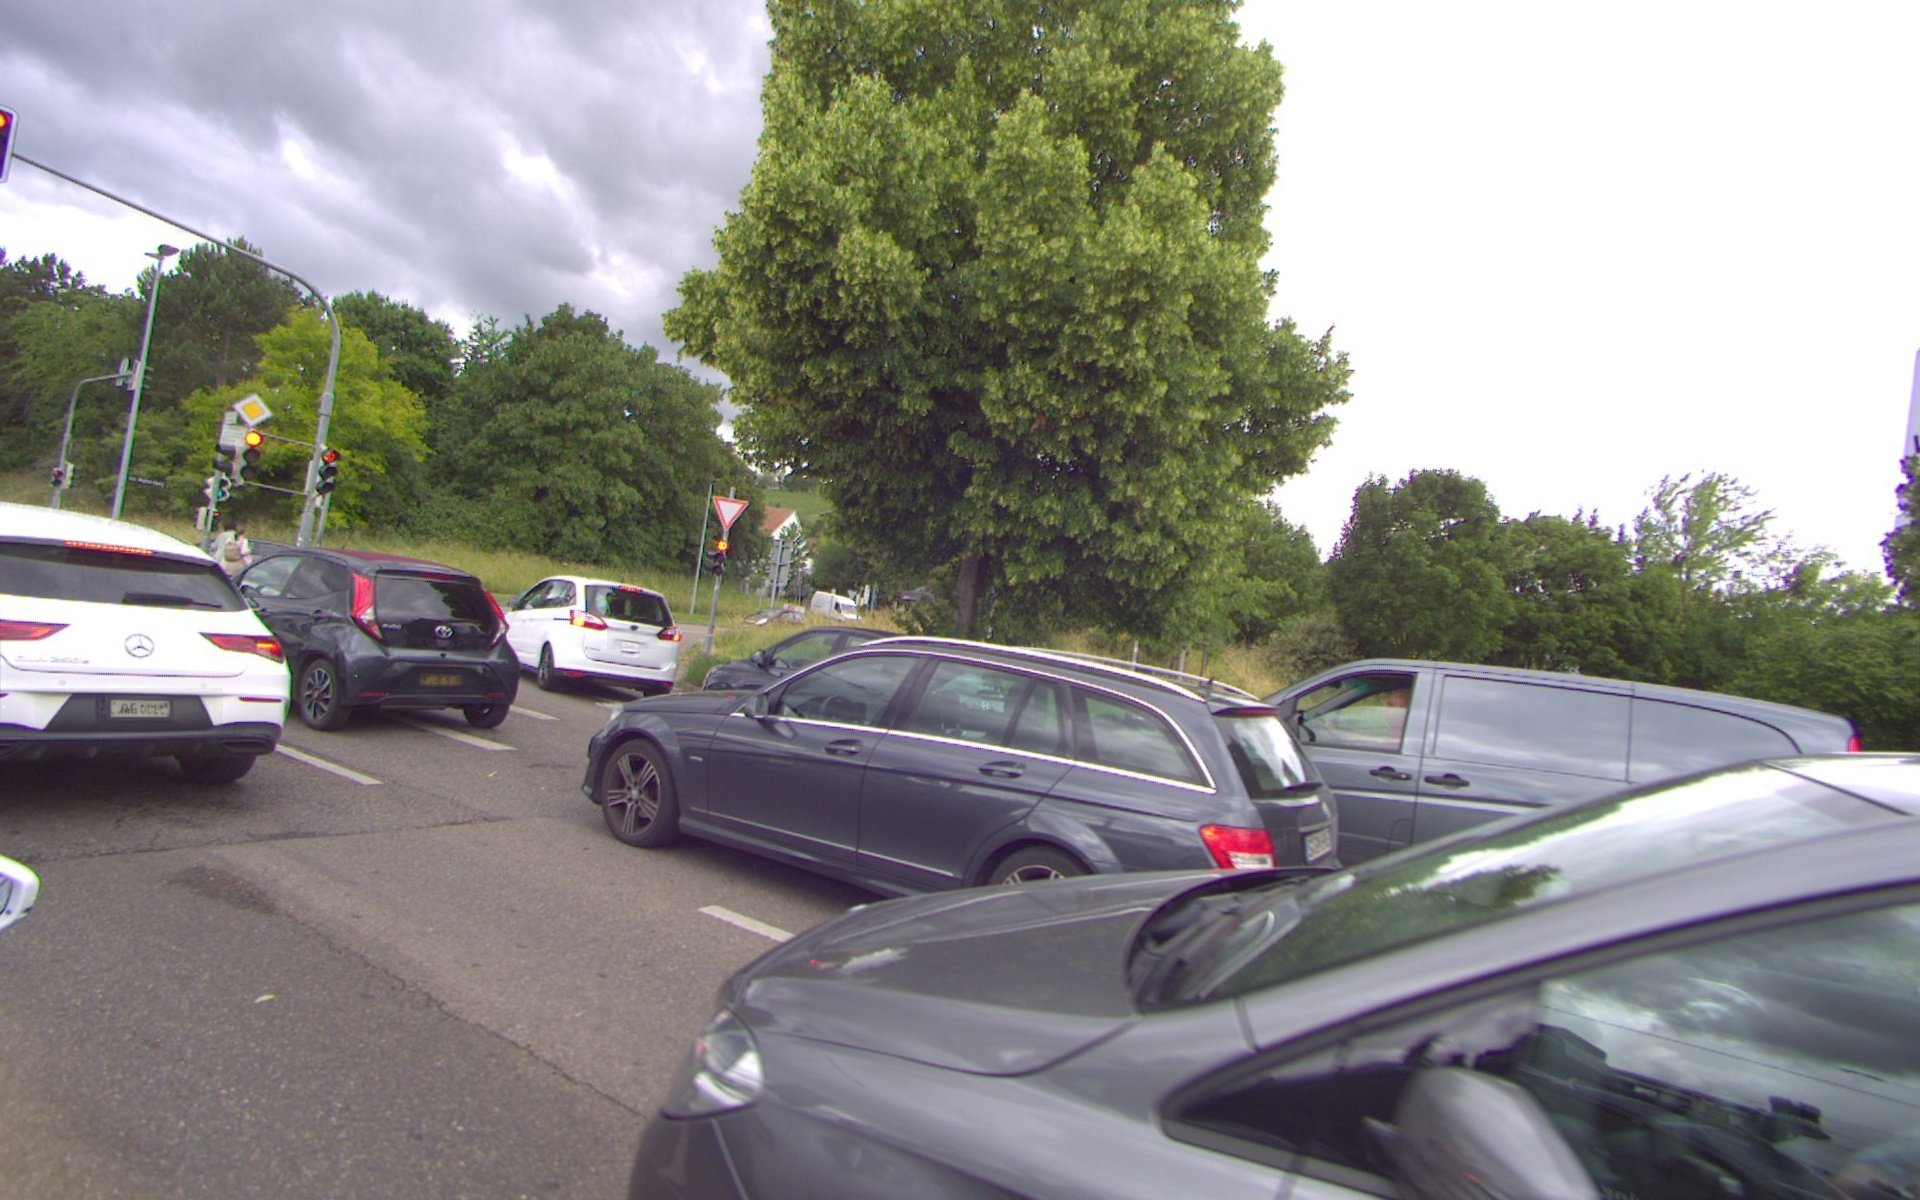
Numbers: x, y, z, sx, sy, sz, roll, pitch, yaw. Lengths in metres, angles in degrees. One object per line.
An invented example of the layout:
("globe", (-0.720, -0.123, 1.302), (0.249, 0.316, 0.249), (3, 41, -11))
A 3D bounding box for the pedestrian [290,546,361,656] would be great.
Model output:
("pedestrian", (-8.982, 0.016, 14.253), (0.349, 1.470, 0.611), (7, -1, 40))

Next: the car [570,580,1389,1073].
("car", (-0.033, 0.919, 5.674), (4.144, 1.452, 1.828), (8, -1, 33))

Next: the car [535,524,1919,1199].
("car", (1.451, 0.930, 1.499), (4.120, 1.541, 1.802), (7, -2, 34))

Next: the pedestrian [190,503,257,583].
("pedestrian", (-15.870, -1.218, 21.685), (0.509, 1.579, 0.865), (8, 0, 30))

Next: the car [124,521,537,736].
("car", (-5.942, 0.213, 9.379), (3.933, 1.420, 1.549), (7, -1, 31))

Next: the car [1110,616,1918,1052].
("car", (3.605, 1.358, 7.321), (4.432, 1.824, 1.828), (7, -2, 33))

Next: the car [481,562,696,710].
("car", (-5.788, 0.460, 15.349), (1.696, 1.655, 4.199), (11, -3, -38))

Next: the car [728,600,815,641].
("car", (-9.278, 1.026, 49.722), (1.662, 1.465, 3.988), (6, -3, 38))

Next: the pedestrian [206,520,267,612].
("pedestrian", (-13.861, -0.650, 19.272), (0.605, 1.651, 0.611), (7, -3, 41))

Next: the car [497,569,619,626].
("car", (-15.801, -0.054, 39.725), (1.809, 1.619, 3.993), (7, -2, 34))

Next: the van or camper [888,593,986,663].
("van or camper", (-1.300, 1.824, 62.988), (2.704, 3.621, 7.272), (6, -2, 26))

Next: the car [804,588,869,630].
("car", (-10.374, 0.752, 84.138), (2.173, 2.570, 5.703), (9, 1, -42))

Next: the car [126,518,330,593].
("car", (-22.015, -1.300, 30.449), (1.968, 1.478, 4.499), (7, -2, 33))

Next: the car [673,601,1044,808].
("car", (-1.137, 1.022, 10.399), (3.586, 1.451, 1.517), (7, -5, 38))

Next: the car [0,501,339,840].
("car", (-5.677, 0.144, 5.810), (4.284, 1.438, 1.724), (7, -1, 32))
